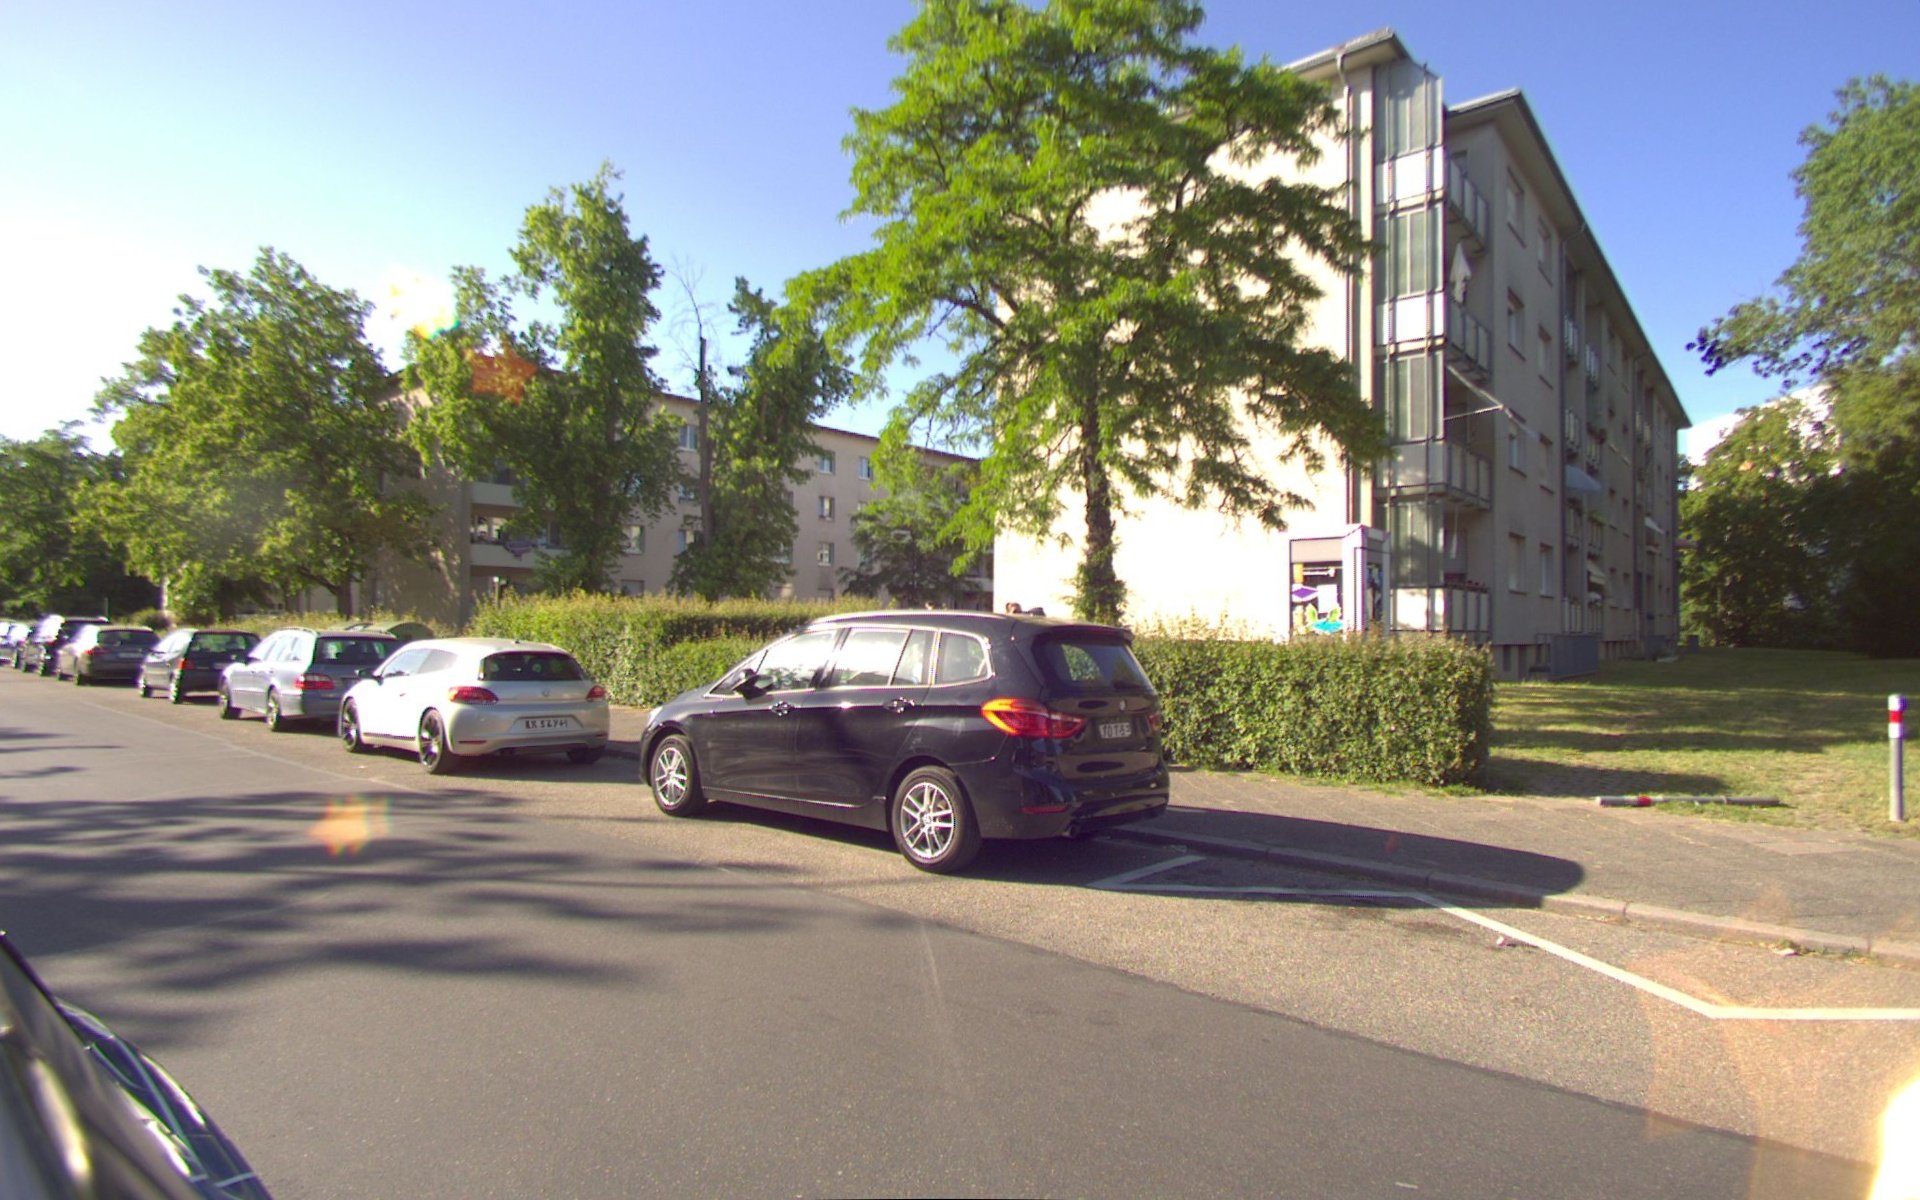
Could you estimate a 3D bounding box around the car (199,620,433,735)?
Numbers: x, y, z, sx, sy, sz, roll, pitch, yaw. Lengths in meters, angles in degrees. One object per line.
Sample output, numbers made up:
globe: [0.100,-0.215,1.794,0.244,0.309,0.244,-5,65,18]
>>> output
car: [-10.053,1.144,15.625,4.899,1.501,1.735,-2,-5,42]

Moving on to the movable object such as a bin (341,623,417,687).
movable object such as a bin: [-13.417,1.242,23.377,1.256,1.376,1.108,-1,1,38]

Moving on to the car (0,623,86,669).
car: [-29.801,1.461,32.567,4.163,1.396,1.623,-1,-3,37]

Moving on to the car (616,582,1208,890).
car: [-0.561,0.812,7.532,4.367,1.648,1.736,-1,-4,40]

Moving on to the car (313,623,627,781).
car: [-5.709,1.037,11.558,4.210,1.436,1.735,0,-4,42]

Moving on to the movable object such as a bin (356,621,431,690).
movable object such as a bin: [-12.528,1.203,22.367,1.325,1.426,0.992,-1,1,39]

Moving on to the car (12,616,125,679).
car: [-25.750,1.338,29.188,4.386,1.681,1.736,-1,-4,40]

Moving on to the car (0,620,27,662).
car: [-38.904,1.610,40.329,4.426,1.618,1.789,-1,-3,38]

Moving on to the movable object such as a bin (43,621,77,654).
movable object such as a bin: [-40.957,1.691,46.063,1.262,1.426,0.886,-1,1,36]

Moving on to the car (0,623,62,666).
car: [-34.158,1.600,36.678,4.146,1.448,1.737,-1,-4,39]

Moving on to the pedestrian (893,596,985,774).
pedestrian: [-0.207,0.820,10.121,0.616,1.692,0.713,-1,-2,40]

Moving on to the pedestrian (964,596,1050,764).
pedestrian: [0.500,0.820,10.713,0.599,1.692,0.713,-1,-2,40]

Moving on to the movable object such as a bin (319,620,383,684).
movable object such as a bin: [-14.515,1.214,24.119,1.325,1.426,0.886,-1,1,39]

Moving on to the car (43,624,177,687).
car: [-21.468,1.352,25.496,4.670,1.396,1.737,0,-3,40]

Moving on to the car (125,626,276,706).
car: [-15.464,1.296,20.554,3.492,1.475,1.632,-1,-4,39]
